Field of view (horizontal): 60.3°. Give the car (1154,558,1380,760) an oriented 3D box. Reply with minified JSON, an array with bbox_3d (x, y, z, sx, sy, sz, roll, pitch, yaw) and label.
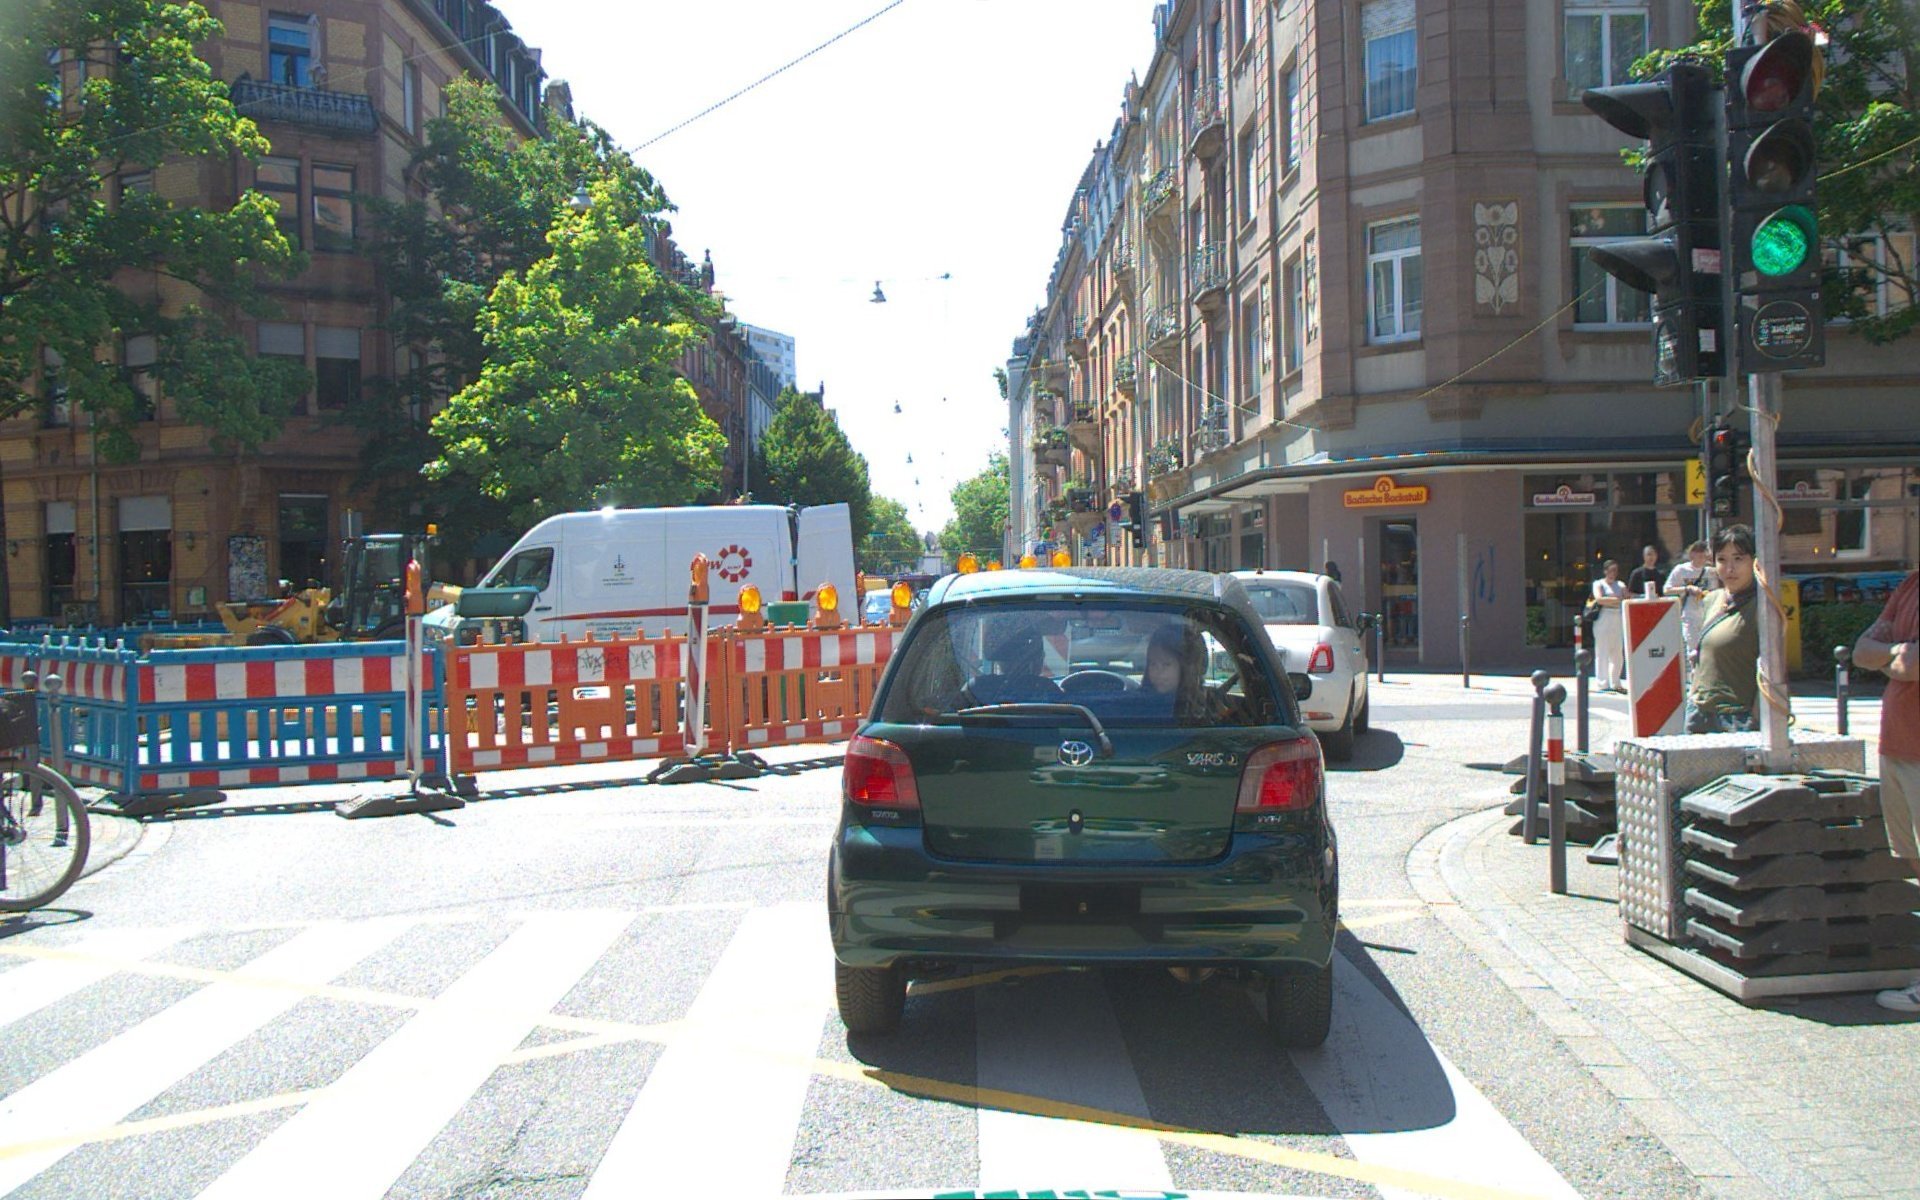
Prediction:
[{"bbox_3d":[2.778,0.436,14.485,1.490,1.547,3.265,-1,1,18],"label":"car"}]

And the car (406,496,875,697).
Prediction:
[{"bbox_3d":[-4.594,-0.055,24.632,6.485,2.799,2.380,0,0,0],"label":"car"}]

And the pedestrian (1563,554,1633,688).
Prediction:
[{"bbox_3d":[8.324,0.265,21.585,0.688,1.673,0.422,-4,4,-9],"label":"pedestrian"}]

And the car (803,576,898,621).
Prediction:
[{"bbox_3d":[-5.718,-0.101,86.316,4.506,2.226,1.982,-1,0,-28],"label":"car"}]

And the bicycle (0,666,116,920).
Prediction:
[{"bbox_3d":[-5.045,0.907,8.198,1.767,1.139,0.468,0,1,21],"label":"bicycle"}]

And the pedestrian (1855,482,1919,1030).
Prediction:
[{"bbox_3d":[3.144,0.482,5.293,0.325,1.705,0.402,-1,0,5],"label":"pedestrian"}]

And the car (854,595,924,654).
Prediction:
[{"bbox_3d":[-1.874,0.624,44.787,1.719,1.469,3.999,-2,0,-1],"label":"car"}]

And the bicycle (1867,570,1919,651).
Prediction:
[{"bbox_3d":[14.257,0.134,23.892,1.938,1.152,0.517,-1,0,17],"label":"bicycle"}]

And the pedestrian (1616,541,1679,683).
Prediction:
[{"bbox_3d":[9.042,0.148,21.753,0.564,1.799,0.470,-4,4,-9],"label":"pedestrian"}]

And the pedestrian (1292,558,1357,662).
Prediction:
[{"bbox_3d":[5.915,0.155,26.866,0.635,1.652,0.795,-1,0,-33],"label":"pedestrian"}]

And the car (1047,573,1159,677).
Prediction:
[{"bbox_3d":[2.365,0.384,27.972,1.492,1.620,3.263,-1,1,-2],"label":"car"}]

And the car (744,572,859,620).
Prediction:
[{"bbox_3d":[-7.081,-0.184,73.951,4.723,2.029,2.033,-1,0,-30],"label":"car"}]

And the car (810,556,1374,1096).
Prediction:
[{"bbox_3d":[0.511,0.606,6.297,1.579,1.511,3.243,0,1,5],"label":"car"}]

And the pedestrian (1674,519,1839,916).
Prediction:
[{"bbox_3d":[3.308,0.473,6.899,0.450,1.587,0.479,-1,0,5],"label":"pedestrian"}]

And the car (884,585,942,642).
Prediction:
[{"bbox_3d":[-1.492,0.417,54.255,1.719,1.673,4.377,-4,0,-1],"label":"car"}]

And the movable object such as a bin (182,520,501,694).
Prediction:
[{"bbox_3d":[-9.991,0.113,27.004,4.452,2.705,1.954,0,0,-3],"label":"movable object such as a bin"}]

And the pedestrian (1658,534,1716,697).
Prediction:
[{"bbox_3d":[8.099,0.176,18.440,0.467,1.763,0.872,-1,-1,18],"label":"pedestrian"}]
